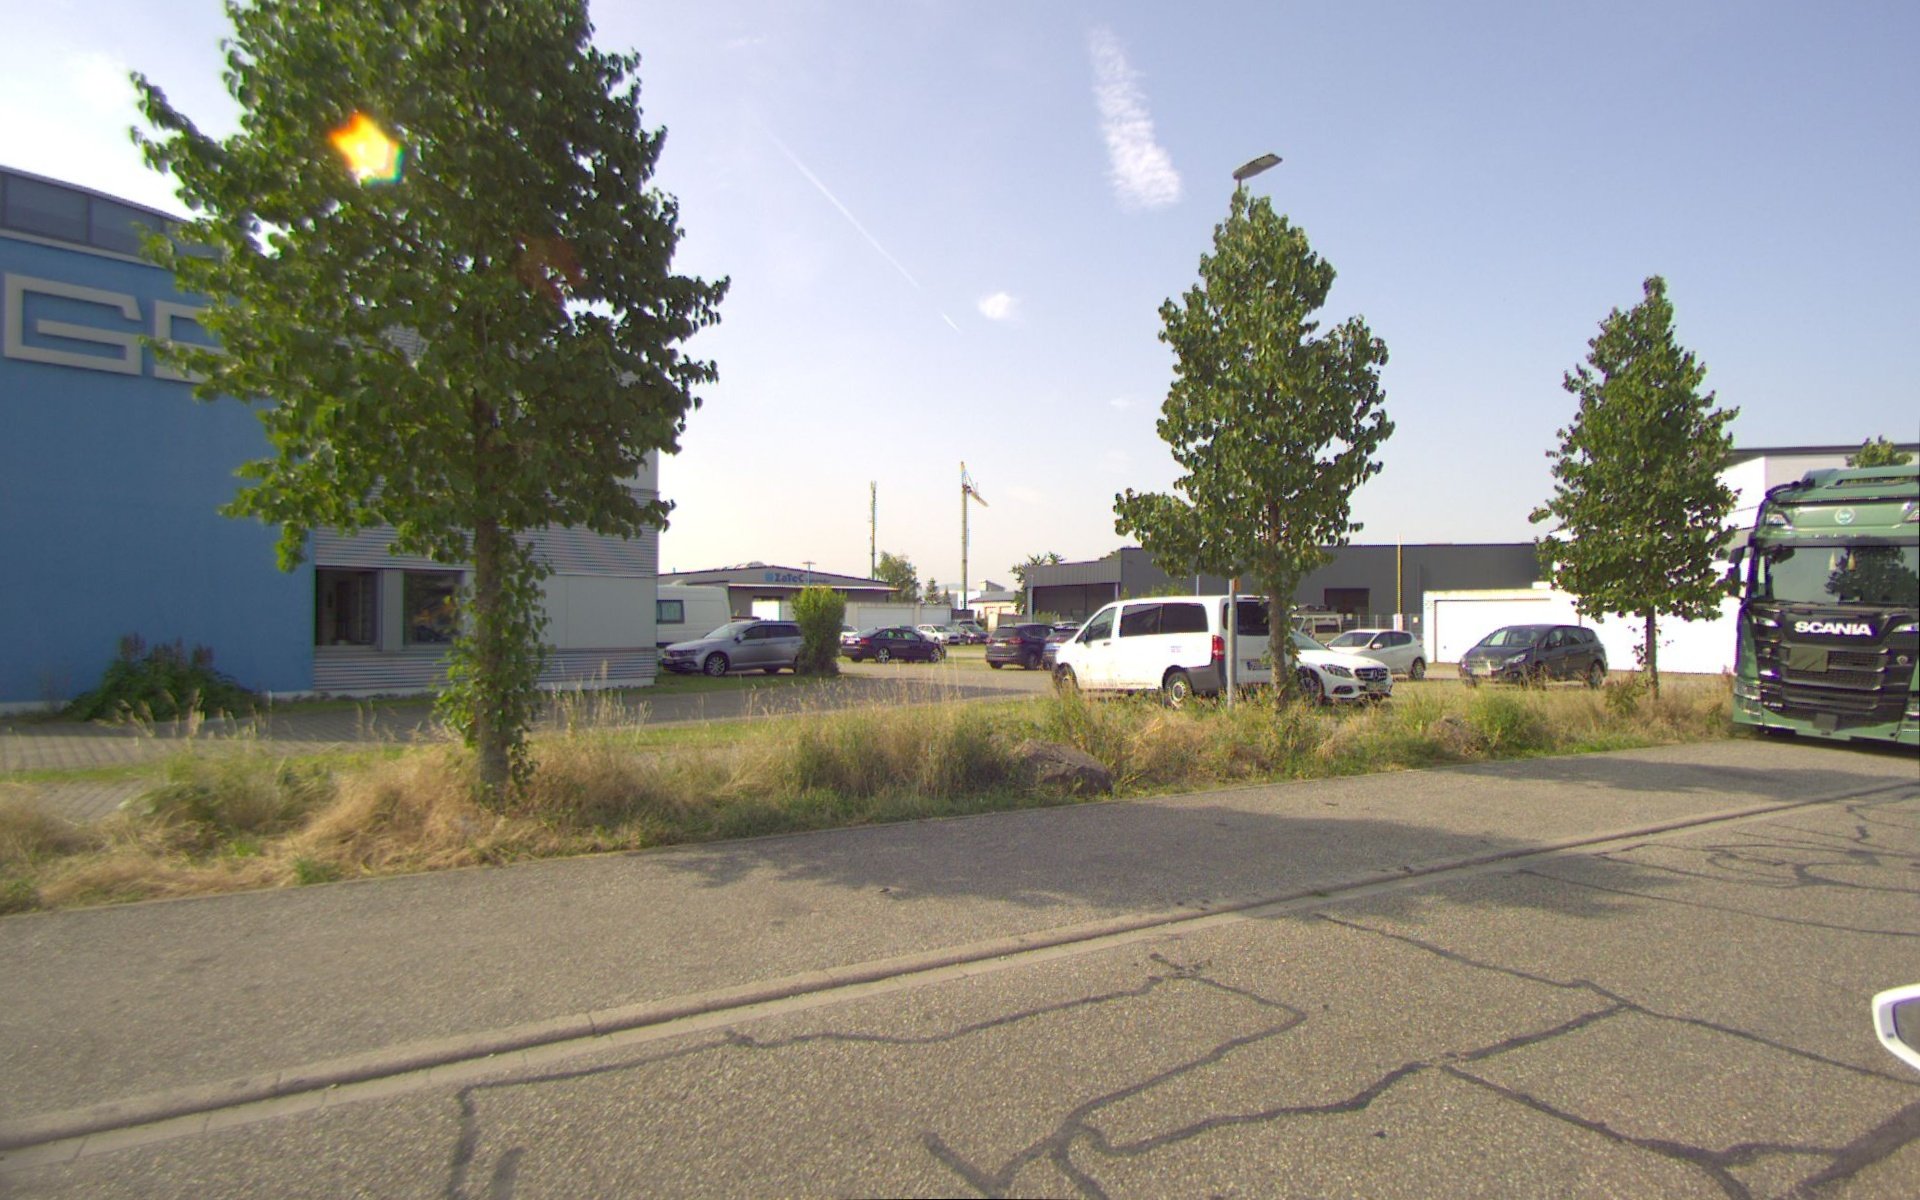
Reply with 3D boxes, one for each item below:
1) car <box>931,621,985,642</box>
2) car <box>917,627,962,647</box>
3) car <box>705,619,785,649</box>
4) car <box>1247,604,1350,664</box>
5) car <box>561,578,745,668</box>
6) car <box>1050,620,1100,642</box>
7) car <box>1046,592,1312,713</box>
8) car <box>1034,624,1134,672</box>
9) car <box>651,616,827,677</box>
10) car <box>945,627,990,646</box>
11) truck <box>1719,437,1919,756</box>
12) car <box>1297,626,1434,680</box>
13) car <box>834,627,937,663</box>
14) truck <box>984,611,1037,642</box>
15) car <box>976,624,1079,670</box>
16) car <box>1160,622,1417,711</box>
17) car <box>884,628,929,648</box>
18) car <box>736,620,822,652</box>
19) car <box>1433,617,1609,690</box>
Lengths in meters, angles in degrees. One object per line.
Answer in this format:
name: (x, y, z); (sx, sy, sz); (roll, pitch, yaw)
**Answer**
car: (-0.146, 2.547, 80.922); (3.951, 1.664, 1.858); (1, -1, -29)
car: (-1.464, 2.592, 70.744); (1.578, 1.327, 3.971); (1, -1, -28)
car: (-12.127, 1.937, 56.624); (4.099, 1.634, 1.834); (2, -2, -27)
car: (15.297, 1.545, 45.215); (5.419, 2.580, 2.032); (2, -2, -42)
car: (-9.979, 0.779, 33.126); (1.686, 2.730, 5.721); (0, -2, 42)
car: (9.902, 2.655, 86.672); (3.948, 1.792, 1.859); (1, -1, -27)
car: (3.714, 0.849, 17.973); (2.078, 1.860, 4.682); (1, -1, -30)
car: (4.269, 1.596, 34.080); (1.818, 1.505, 3.990); (0, -2, 33)
car: (-5.825, 1.241, 26.886); (1.558, 1.500, 4.498); (-1, -2, 43)
car: (0.514, 2.601, 71.896); (1.578, 1.327, 3.971); (1, -1, -28)
truck: (15.614, 0.076, 15.577); (9.686, 3.933, 2.444); (2, 0, -30)
car: (12.176, 1.559, 30.094); (4.167, 1.536, 1.696); (1, -2, -32)
car: (-2.957, 1.775, 40.260); (3.972, 1.327, 1.646); (1, -1, -43)
truck: (4.210, 2.183, 83.956); (3.946, 2.547, 1.987); (1, -1, -26)
car: (2.456, 1.624, 35.565); (1.937, 1.505, 3.990); (0, -2, 33)
car: (6.108, 1.164, 19.301); (1.974, 1.450, 4.709); (1, -1, -27)
car: (-3.746, 2.591, 69.407); (1.578, 1.327, 3.971); (1, -1, -28)
car: (-9.575, 1.918, 53.226); (4.099, 1.634, 1.834); (2, -2, -27)
car: (14.467, 1.322, 25.842); (4.647, 1.709, 1.983); (1, -2, -32)
